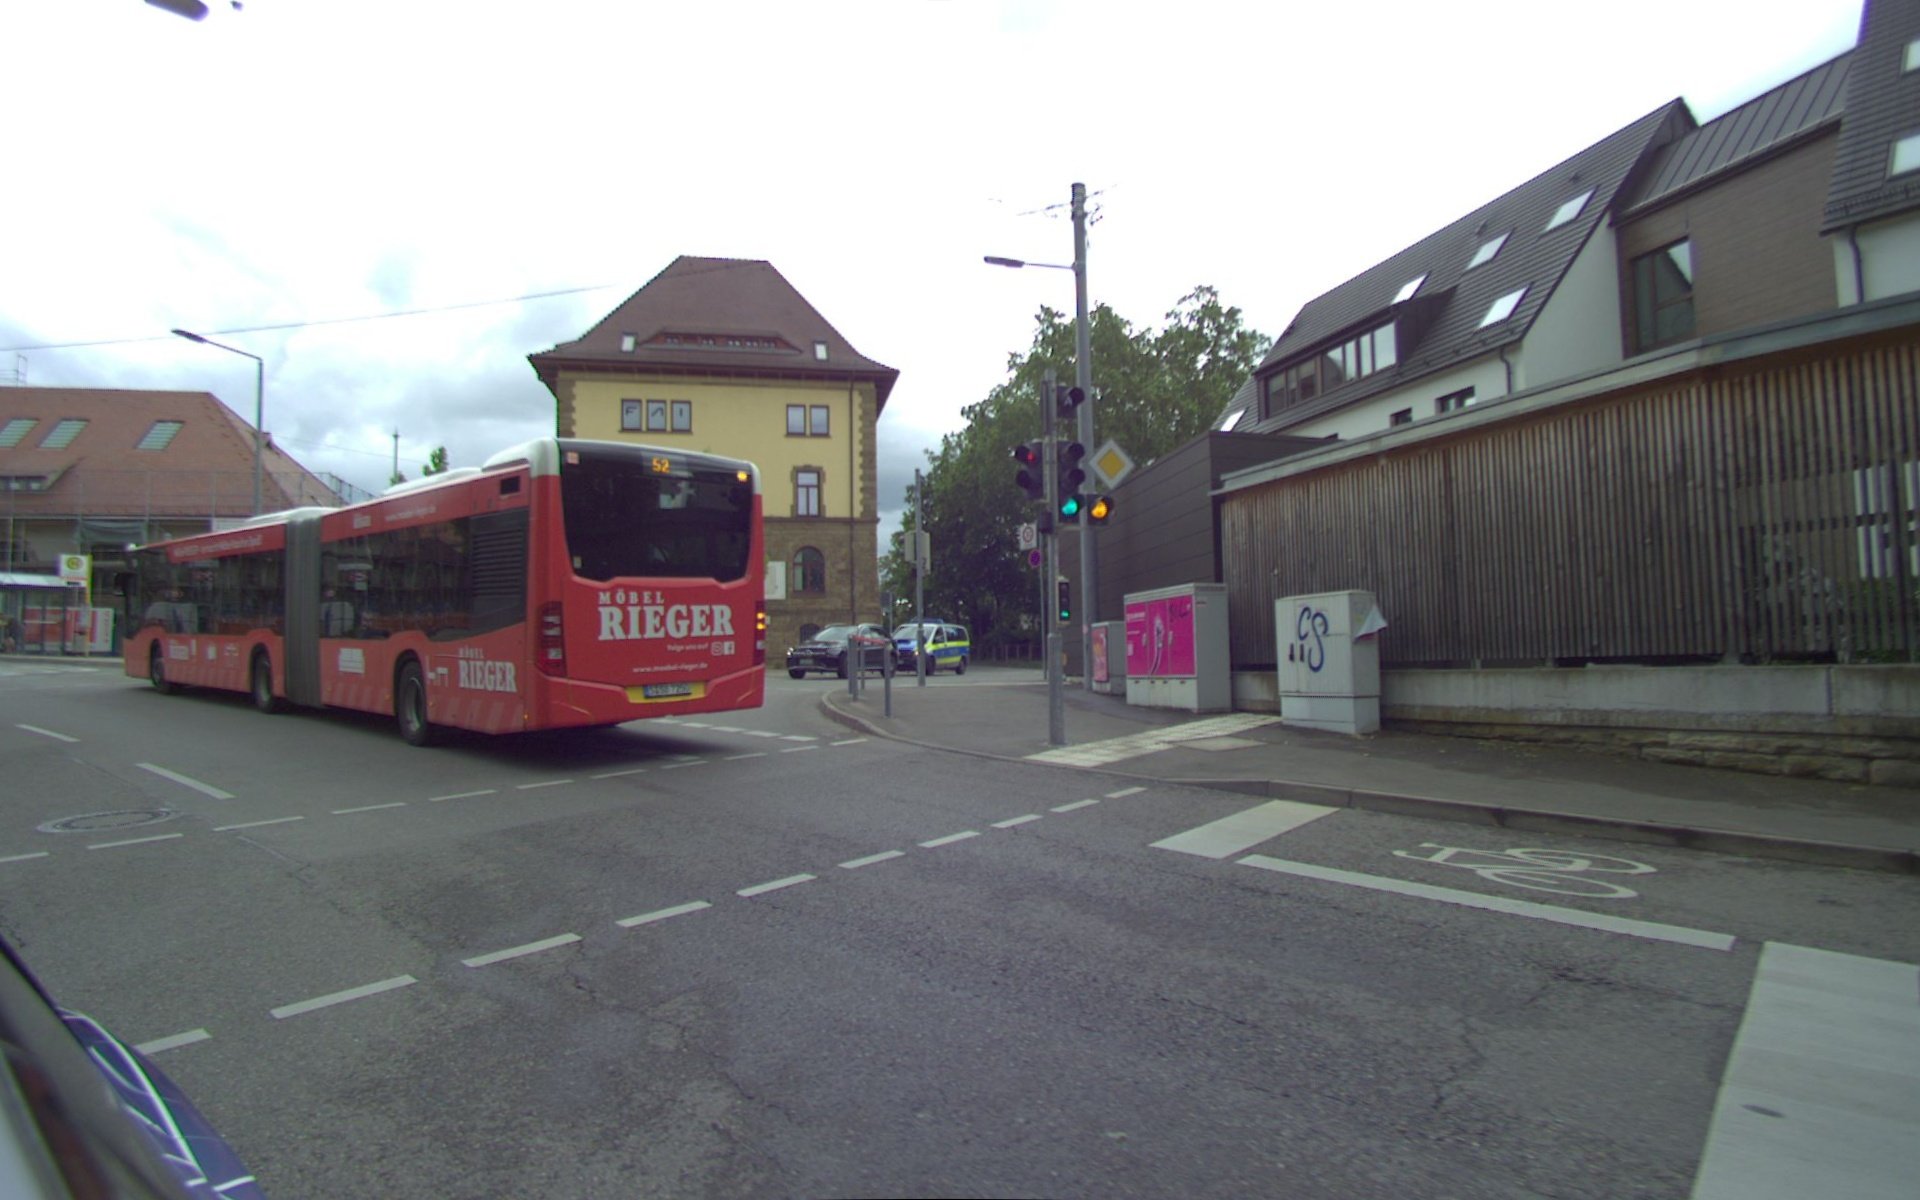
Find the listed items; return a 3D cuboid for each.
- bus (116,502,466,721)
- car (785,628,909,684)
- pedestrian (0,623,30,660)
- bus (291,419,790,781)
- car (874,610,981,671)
[{"bbox_3d":[-12.747,0.253,18.709,10.010,3.145,2.631,-1,-1,40],"label":"bus"},{"bbox_3d":[-3.297,1.682,30.400,1.986,1.524,4.243,0,-3,21],"label":"car"},{"bbox_3d":[-32.721,1.424,34.637,0.898,1.201,0.930,0,-5,18],"label":"pedestrian"},{"bbox_3d":[-5.709,0.069,12.615,8.294,3.145,2.628,-1,-1,44],"label":"bus"},{"bbox_3d":[-1.061,1.498,36.883,1.985,2.029,5.551,0,-3,19],"label":"car"}]
